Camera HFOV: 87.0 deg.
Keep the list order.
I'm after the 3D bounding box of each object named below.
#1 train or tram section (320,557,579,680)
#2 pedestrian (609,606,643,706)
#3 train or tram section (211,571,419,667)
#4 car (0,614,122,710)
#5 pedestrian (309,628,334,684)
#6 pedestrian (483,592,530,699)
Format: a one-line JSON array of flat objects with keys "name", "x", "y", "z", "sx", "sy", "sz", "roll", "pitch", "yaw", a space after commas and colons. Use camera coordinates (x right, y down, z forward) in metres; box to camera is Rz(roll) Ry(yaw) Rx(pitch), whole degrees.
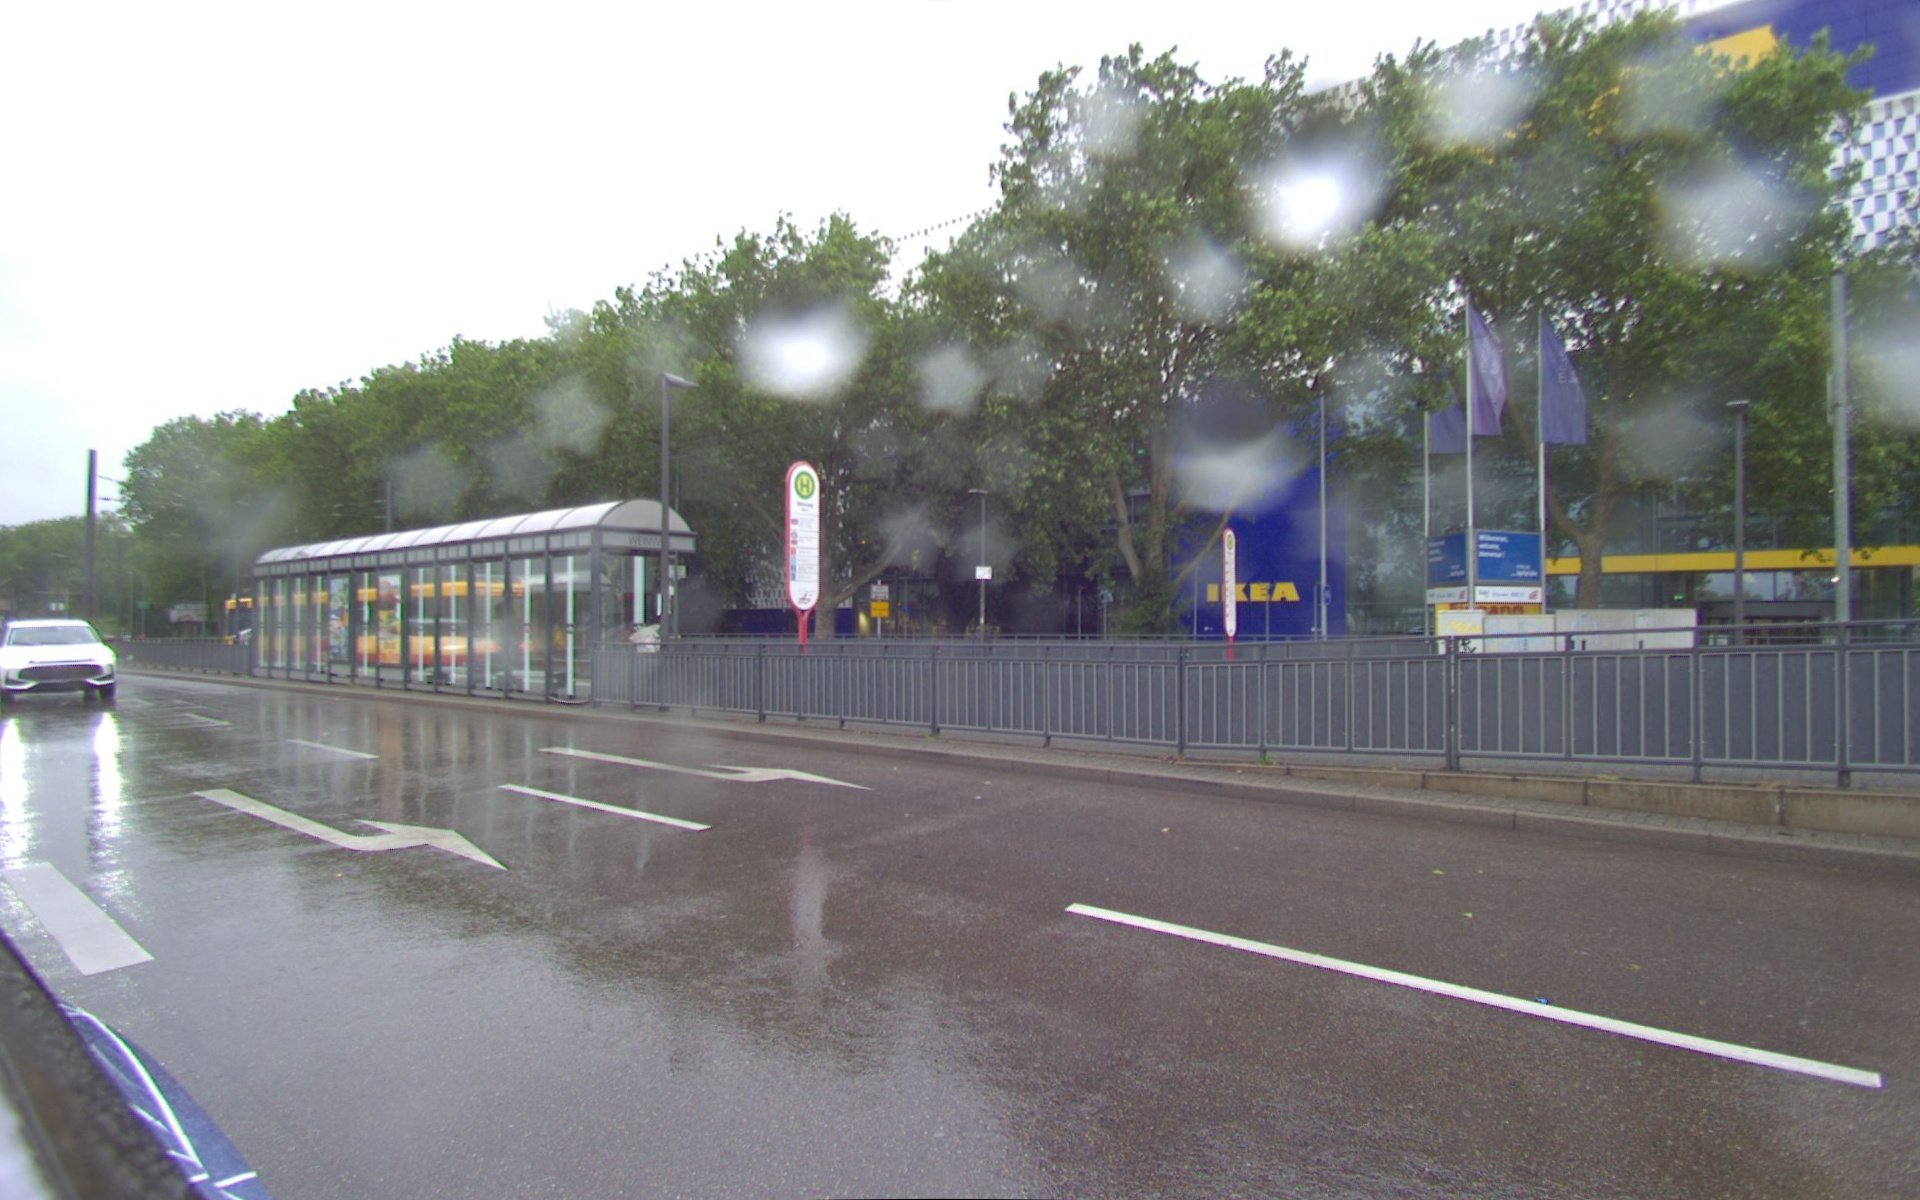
[{"name": "train or tram section", "x": -19.327, "y": 0.654, "z": 37.564, "sx": 13.245, "sy": 3.868, "sz": 3.703, "roll": -1, "pitch": 0, "yaw": 40}, {"name": "pedestrian", "x": -5.166, "y": 0.851, "z": 15.647, "sx": 0.317, "sy": 1.504, "sz": 0.416, "roll": -2, "pitch": 1, "yaw": -44}, {"name": "train or tram section", "x": -30.301, "y": 0.858, "z": 46.951, "sx": 15.560, "sy": 3.827, "sz": 3.703, "roll": -1, "pitch": 0, "yaw": 40}, {"name": "car", "x": -19.471, "y": 1.219, "z": 21.445, "sx": 4.661, "sy": 1.788, "sz": 1.910, "roll": -1, "pitch": 0, "yaw": 41}, {"name": "pedestrian", "x": -14.637, "y": 1.276, "z": 23.201, "sx": 0.451, "sy": 1.245, "sz": 0.468, "roll": 0, "pitch": 0, "yaw": -35}, {"name": "pedestrian", "x": -8.262, "y": 0.806, "z": 18.421, "sx": 0.646, "sy": 1.885, "sz": 0.774, "roll": -1, "pitch": 0, "yaw": -33}]
